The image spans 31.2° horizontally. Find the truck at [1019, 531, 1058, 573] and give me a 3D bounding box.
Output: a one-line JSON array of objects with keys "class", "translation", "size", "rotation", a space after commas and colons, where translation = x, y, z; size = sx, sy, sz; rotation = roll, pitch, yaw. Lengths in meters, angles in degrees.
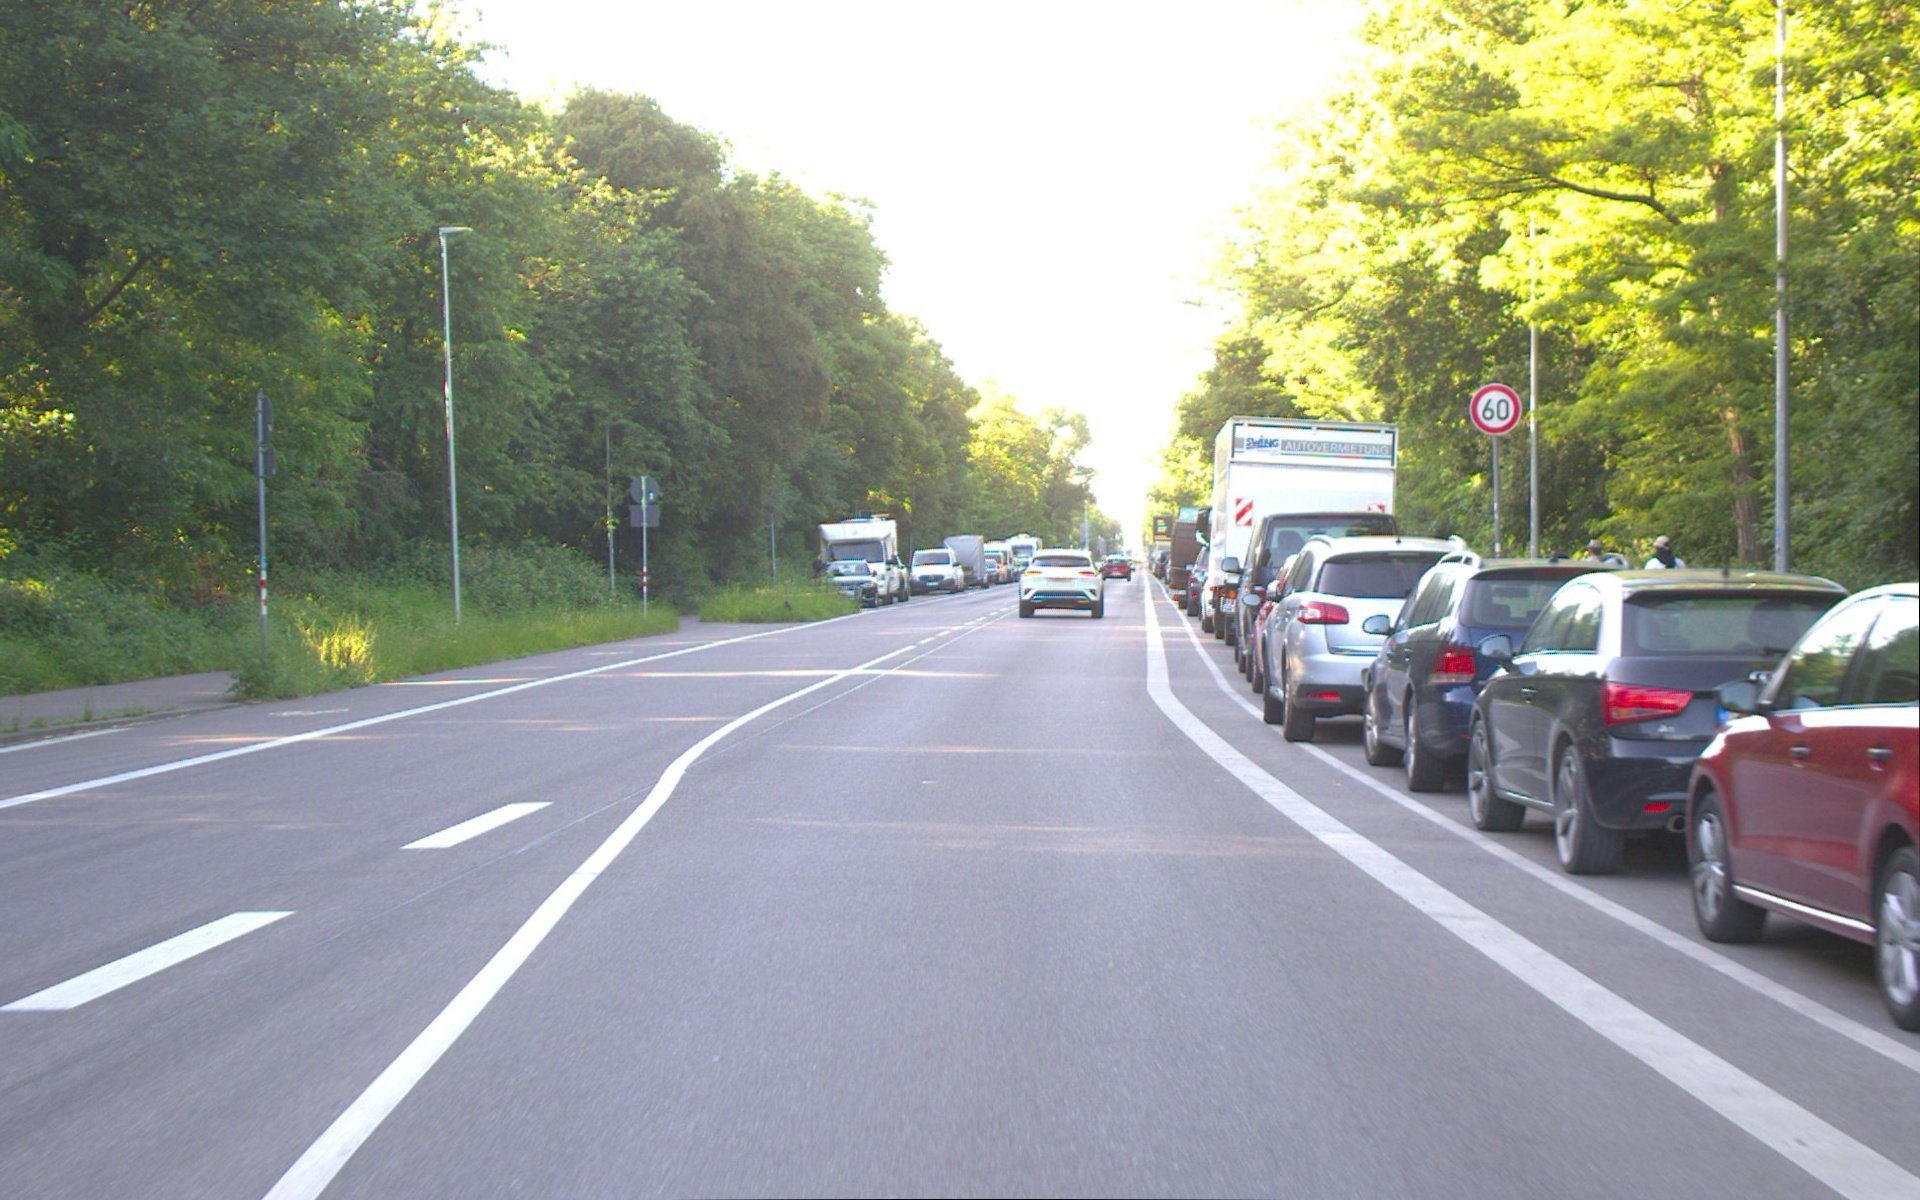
[{"class": "truck", "translation": [5.936, -3.630, 259.017], "size": [2.708, 3.083, 7.988], "rotation": [0, 1, 3]}]

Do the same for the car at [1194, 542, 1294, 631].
[{"class": "car", "translation": [5.314, -0.279, 64.626], "size": [1.712, 1.563, 4.000], "rotation": [2, 1, 3]}]

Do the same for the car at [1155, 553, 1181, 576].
[{"class": "car", "translation": [15.282, -2.613, 252.079], "size": [1.841, 1.656, 4.000], "rotation": [0, 1, 4]}]

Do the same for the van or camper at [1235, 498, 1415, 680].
[{"class": "van or camper", "translation": [4.245, -0.156, 40.548], "size": [1.898, 2.007, 4.586], "rotation": [-1, 1, 4]}]

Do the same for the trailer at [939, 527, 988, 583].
[{"class": "trailer", "translation": [0.174, -2.175, 166.490], "size": [1.994, 2.589, 4.415], "rotation": [-3, 1, 3]}]

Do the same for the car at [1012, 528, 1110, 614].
[{"class": "car", "translation": [2.274, -0.661, 76.253], "size": [2.029, 1.834, 4.028], "rotation": [-1, 1, 4]}]

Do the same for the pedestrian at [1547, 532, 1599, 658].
[{"class": "pedestrian", "translation": [7.770, -0.067, 43.564], "size": [0.563, 1.582, 0.482], "rotation": [-1, 1, 3]}]

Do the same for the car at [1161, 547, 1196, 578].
[{"class": "car", "translation": [10.761, -1.854, 169.619], "size": [1.690, 1.519, 4.149], "rotation": [1, 1, 3]}]

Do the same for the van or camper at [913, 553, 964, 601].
[{"class": "van or camper", "translation": [-0.878, -0.972, 143.389], "size": [1.836, 1.905, 4.856], "rotation": [-2, 1, 3]}]

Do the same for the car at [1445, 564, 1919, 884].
[{"class": "car", "translation": [3.555, 0.538, 17.297], "size": [1.594, 1.396, 3.799], "rotation": [1, 1, -1]}]

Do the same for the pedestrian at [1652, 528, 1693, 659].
[{"class": "pedestrian", "translation": [8.688, -0.077, 41.910], "size": [0.394, 1.582, 0.482], "rotation": [-1, 1, 3]}]

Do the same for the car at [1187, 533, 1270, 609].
[{"class": "car", "translation": [5.853, -0.652, 75.128], "size": [1.712, 1.563, 4.551], "rotation": [2, 1, 4]}]

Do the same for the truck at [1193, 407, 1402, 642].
[{"class": "truck", "translation": [5.349, -1.204, 55.813], "size": [2.832, 3.485, 8.578], "rotation": [-1, 1, 2]}]

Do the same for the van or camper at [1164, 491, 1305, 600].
[{"class": "van or camper", "translation": [7.471, -1.492, 92.969], "size": [2.443, 2.790, 6.551], "rotation": [-1, 1, 17]}]

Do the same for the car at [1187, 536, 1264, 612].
[{"class": "car", "translation": [6.181, -0.627, 80.121], "size": [1.712, 1.659, 4.551], "rotation": [2, 1, 4]}]

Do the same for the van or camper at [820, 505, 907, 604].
[{"class": "van or camper", "translation": [-3.031, -1.447, 109.530], "size": [2.314, 2.960, 7.111], "rotation": [-3, 1, 1]}]

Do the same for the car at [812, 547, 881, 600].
[{"class": "car", "translation": [-3.342, -0.806, 102.103], "size": [1.827, 1.471, 4.681], "rotation": [-2, 1, 0]}]

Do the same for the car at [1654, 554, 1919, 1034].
[{"class": "car", "translation": [3.704, 0.598, 11.971], "size": [1.616, 1.464, 3.725], "rotation": [1, 1, -3]}]

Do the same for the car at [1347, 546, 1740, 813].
[{"class": "car", "translation": [3.688, 0.432, 22.488], "size": [1.807, 1.514, 4.504], "rotation": [2, 1, 1]}]

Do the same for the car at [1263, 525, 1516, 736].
[{"class": "car", "translation": [3.443, 0.198, 28.169], "size": [1.799, 1.589, 4.028], "rotation": [-1, 1, 4]}]

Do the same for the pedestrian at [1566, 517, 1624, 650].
[{"class": "pedestrian", "translation": [8.526, -0.224, 46.214], "size": [0.618, 1.758, 0.906], "rotation": [-1, 1, 3]}]
